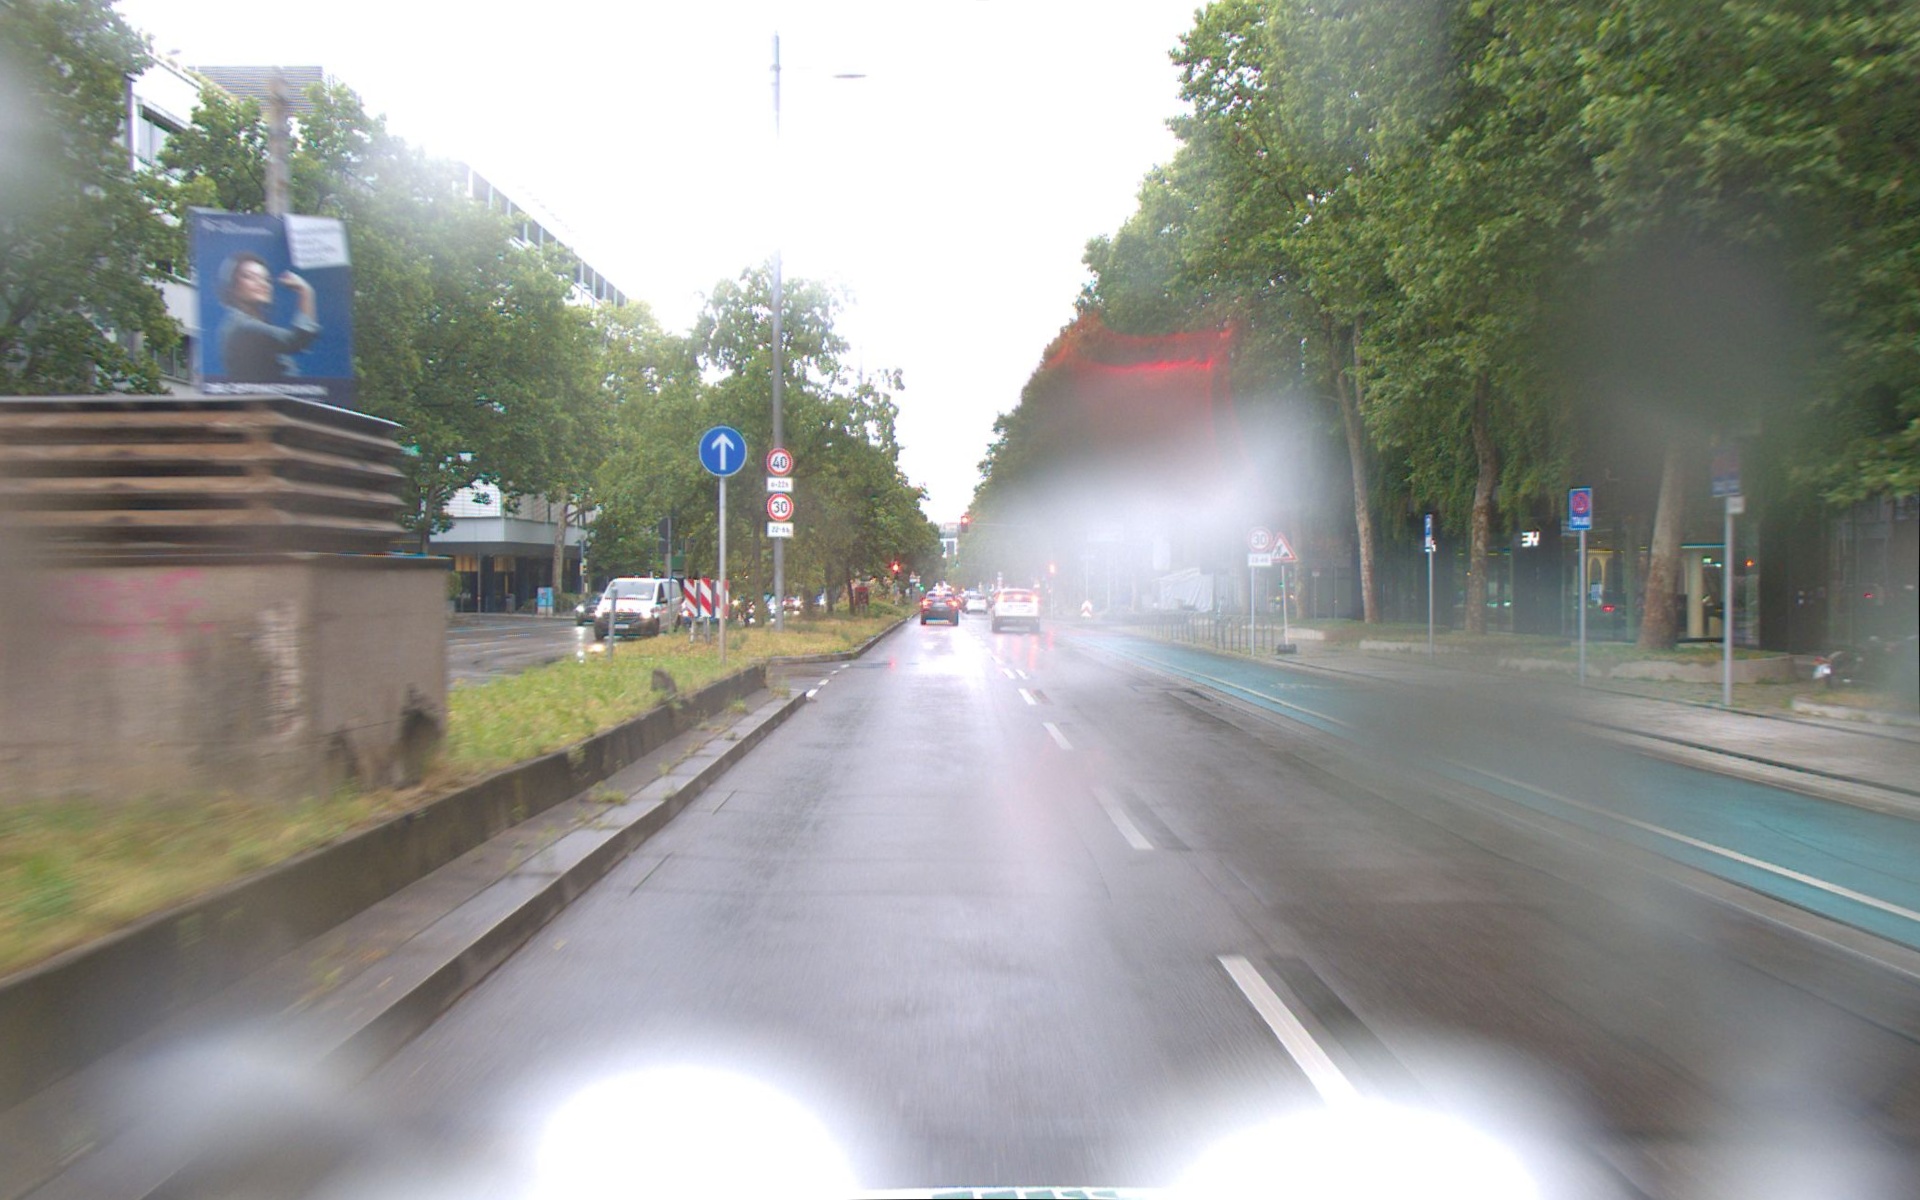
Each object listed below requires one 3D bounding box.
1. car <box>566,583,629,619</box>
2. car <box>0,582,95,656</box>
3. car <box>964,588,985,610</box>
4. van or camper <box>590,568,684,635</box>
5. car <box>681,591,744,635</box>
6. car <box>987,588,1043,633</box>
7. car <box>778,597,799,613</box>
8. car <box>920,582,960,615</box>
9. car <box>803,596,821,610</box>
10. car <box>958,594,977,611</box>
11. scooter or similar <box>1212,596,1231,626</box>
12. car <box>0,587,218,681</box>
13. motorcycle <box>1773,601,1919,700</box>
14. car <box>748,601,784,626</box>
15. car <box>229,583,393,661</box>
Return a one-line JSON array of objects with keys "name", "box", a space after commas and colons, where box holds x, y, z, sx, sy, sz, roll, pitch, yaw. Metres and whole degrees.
[{"name": "car", "box": [-15.806, 0.038, 72.305, 1.713, 1.501, 4.097, 0, 0, 1]}, {"name": "car", "box": [-19.341, 0.352, 33.216, 1.527, 1.377, 4.682, 1, 1, -1]}, {"name": "car", "box": [1.165, -0.091, 133.345, 1.587, 1.695, 3.999, -1, 0, -1]}, {"name": "van or camper", "box": [-9.956, 0.007, 51.375, 1.953, 1.947, 5.250, 0, 1, -1]}, {"name": "car", "box": [-9.495, 0.465, 63.818, 1.806, 1.507, 4.396, 1, 1, -1]}, {"name": "car", "box": [2.109, 0.384, 65.094, 1.953, 1.684, 4.887, 0, 0, -1]}, {"name": "car", "box": [-15.497, 0.421, 149.476, 1.581, 1.418, 4.183, 0, 1, -1]}, {"name": "car", "box": [-0.969, -0.087, 79.284, 1.879, 1.517, 3.999, 0, 1, -1]}, {"name": "car", "box": [-15.261, 0.317, 171.130, 1.581, 1.418, 3.597, 0, 1, -1]}, {"name": "car", "box": [0.667, 0.225, 144.972, 1.587, 1.398, 3.999, 0, 0, -1]}, {"name": "scooter or similar", "box": [10.994, 0.477, 69.584, 0.374, 1.249, 1.075, 0, 0, 35]}, {"name": "car", "box": [-14.603, 0.508, 28.213, 1.928, 1.433, 4.953, 0, 1, -4]}, {"name": "motorcycle", "box": [12.762, 0.707, 23.117, 2.261, 1.292, 1.052, 2, 0, -2]}, {"name": "car", "box": [-11.721, 0.807, 99.972, 1.806, 1.454, 3.642, 0, 1, -1]}, {"name": "car", "box": [-15.077, 0.462, 38.682, 1.724, 1.643, 4.550, 1, 1, 4]}]
